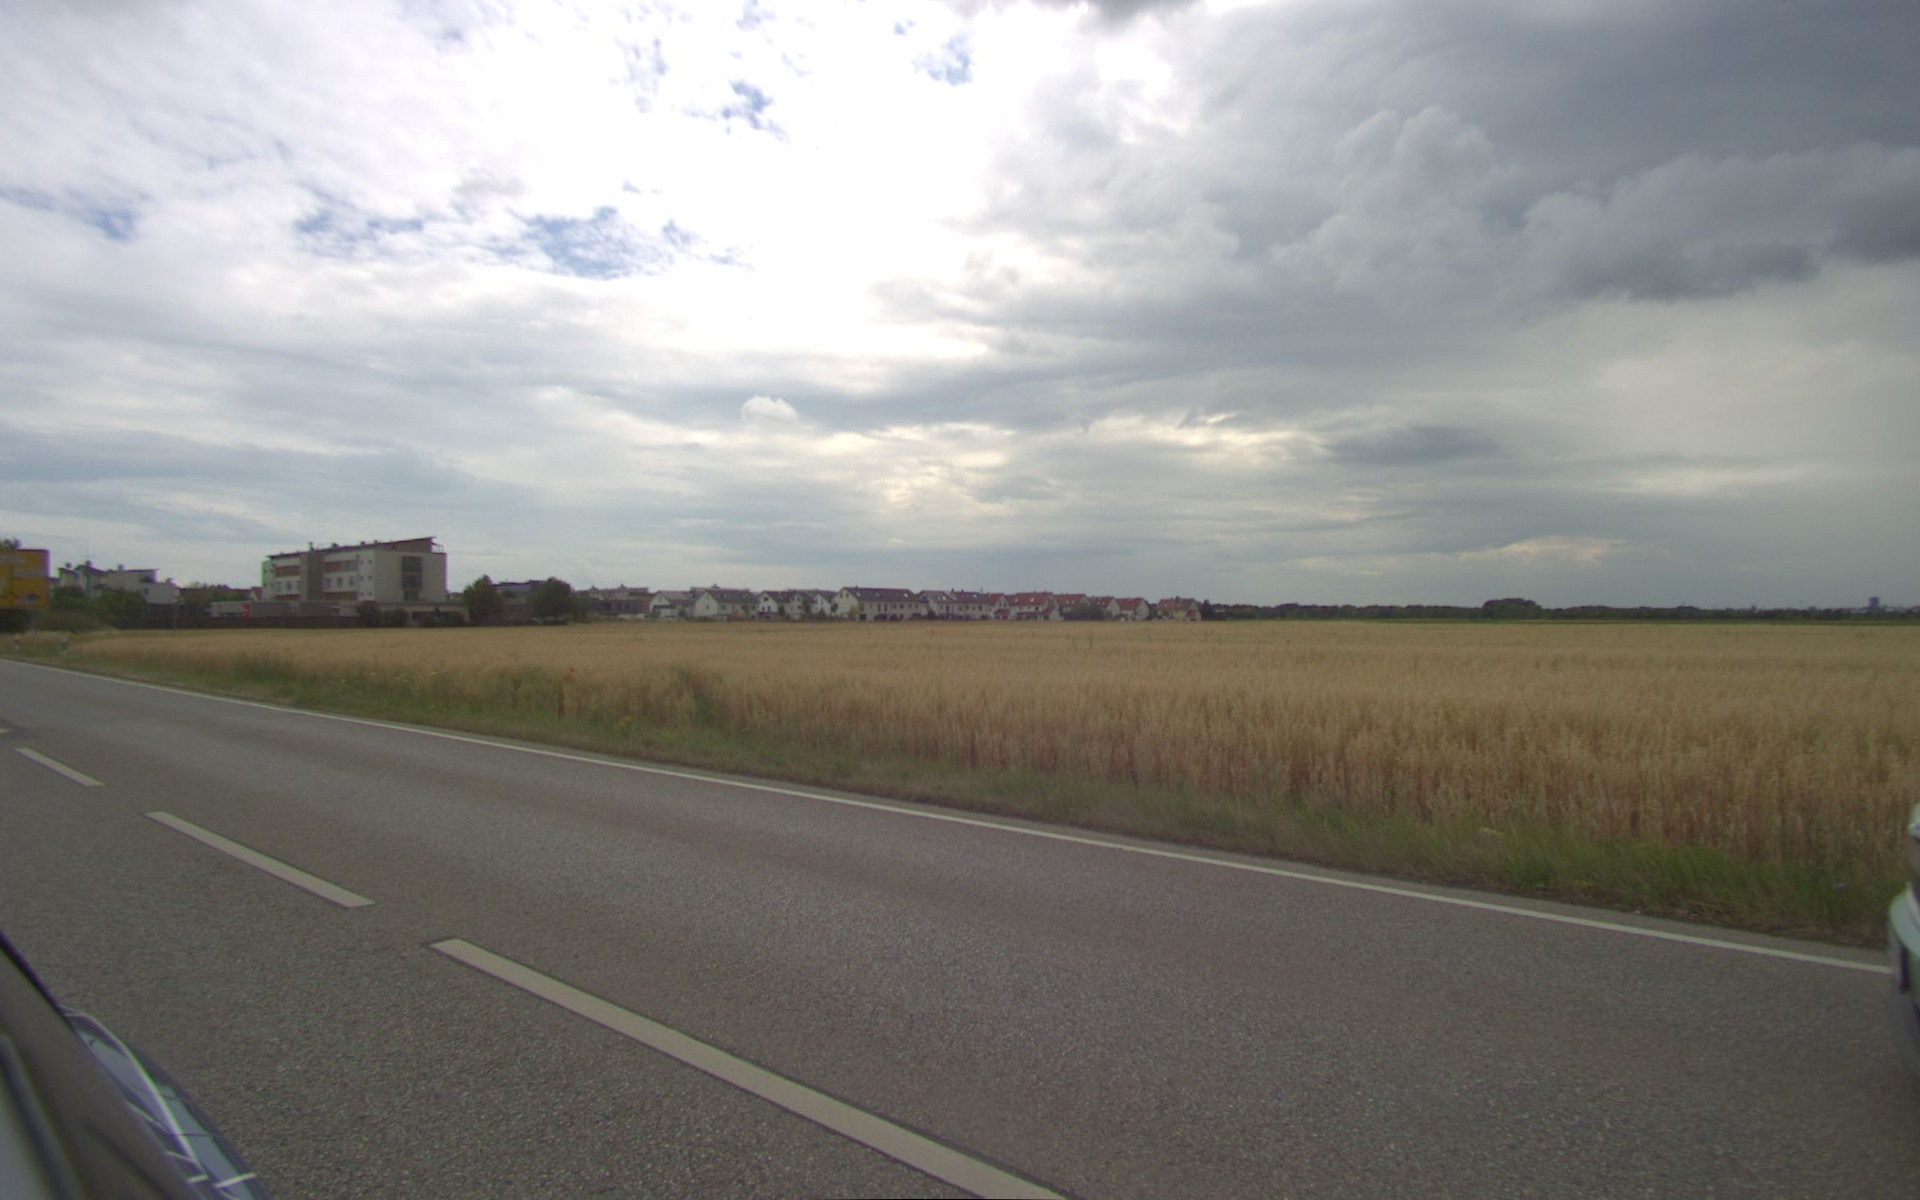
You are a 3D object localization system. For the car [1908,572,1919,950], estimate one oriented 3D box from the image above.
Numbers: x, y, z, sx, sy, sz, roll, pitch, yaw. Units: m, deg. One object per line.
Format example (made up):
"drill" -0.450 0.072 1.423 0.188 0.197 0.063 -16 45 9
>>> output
"car" 4.661 0.634 1.387 4.762 1.593 2.043 -2 -3 41
